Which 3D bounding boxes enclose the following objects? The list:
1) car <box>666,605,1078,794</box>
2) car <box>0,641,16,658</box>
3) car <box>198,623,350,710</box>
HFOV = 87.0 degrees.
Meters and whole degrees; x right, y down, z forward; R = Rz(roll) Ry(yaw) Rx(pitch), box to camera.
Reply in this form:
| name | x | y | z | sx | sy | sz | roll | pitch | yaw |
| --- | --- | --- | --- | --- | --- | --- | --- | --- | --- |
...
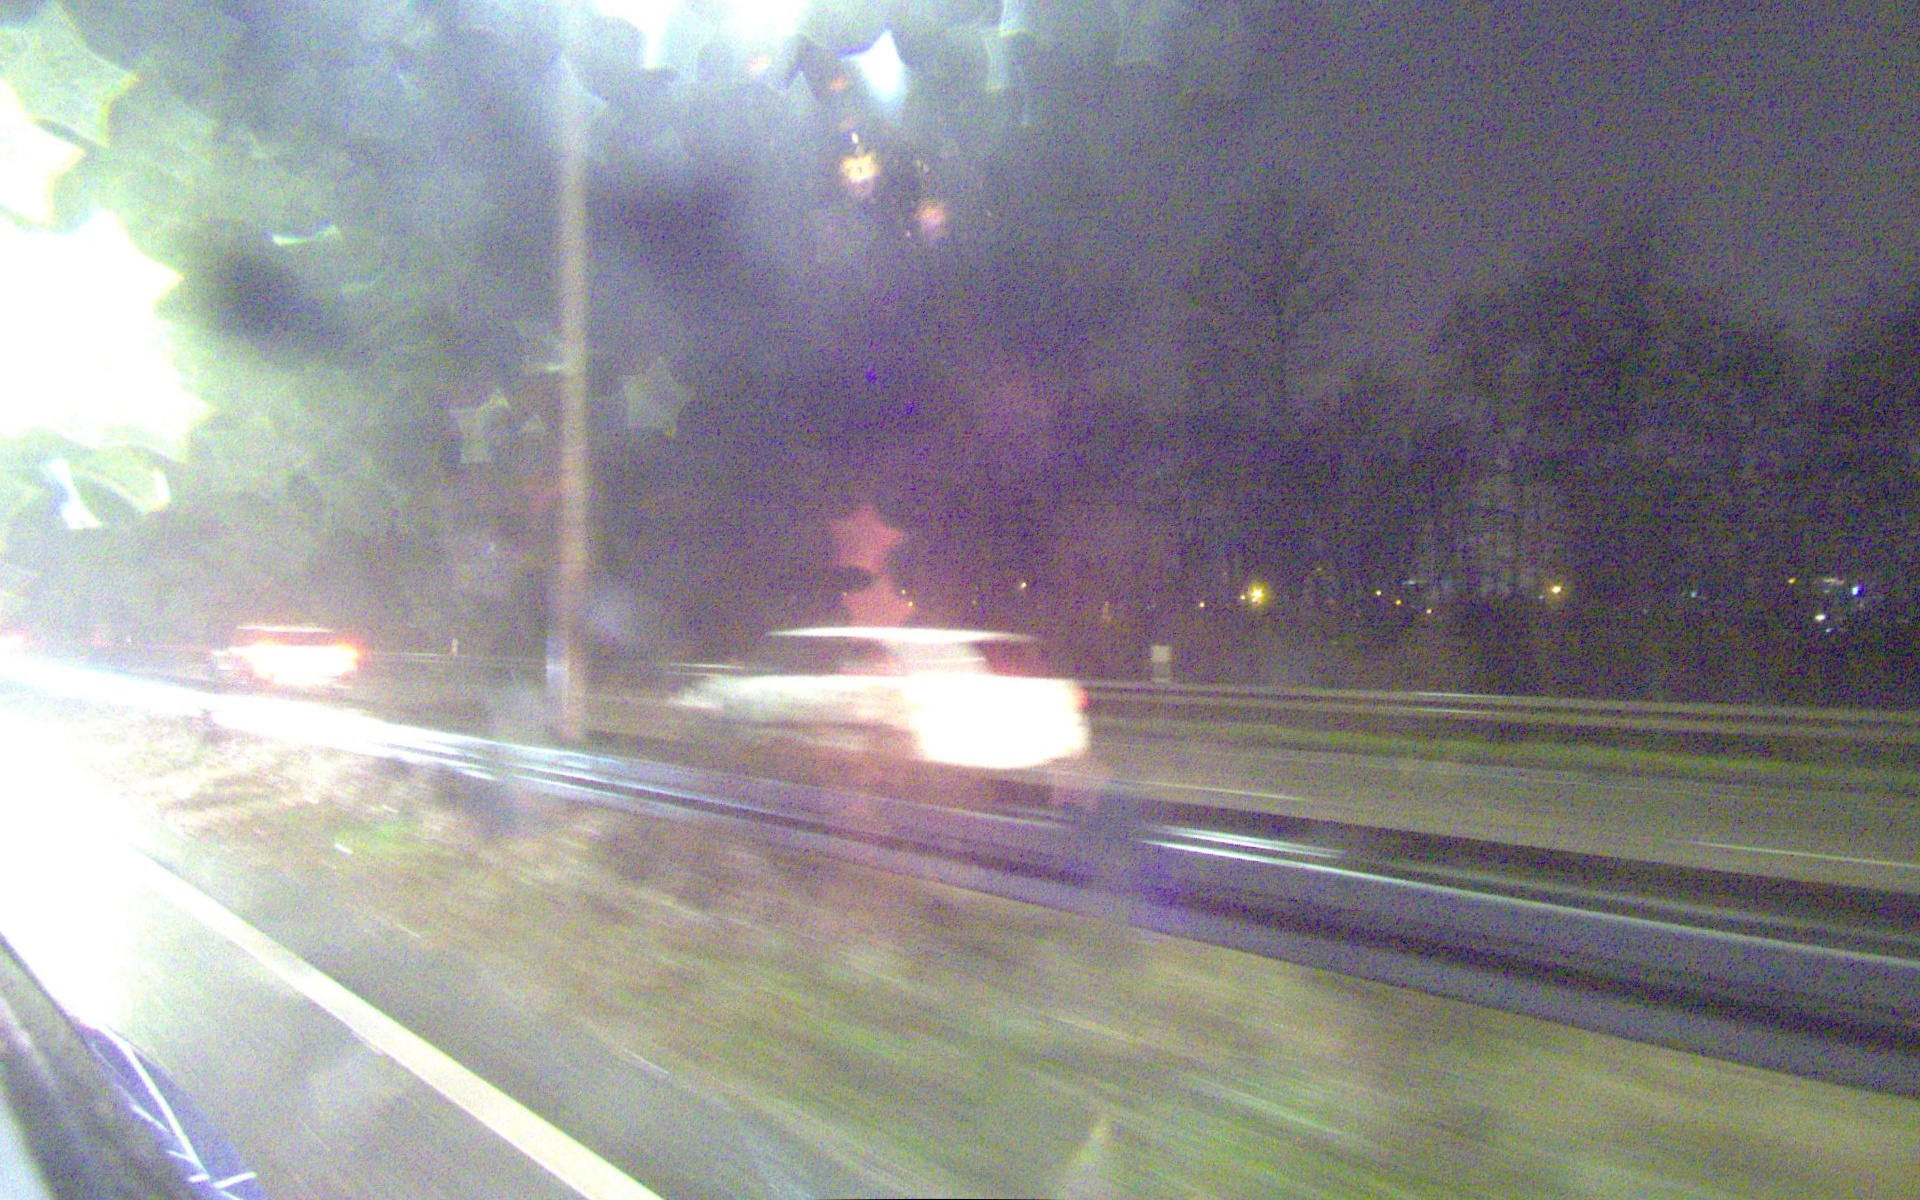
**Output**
| name | x | y | z | sx | sy | sz | roll | pitch | yaw |
| --- | --- | --- | --- | --- | --- | --- | --- | --- | --- |
| car | -1.006 | 0.908 | 10.210 | 4.155 | 1.554 | 1.553 | -1 | -5 | 37 |
| car | -78.398 | 4.024 | 82.557 | 4.162 | 1.392 | 1.593 | -2 | -4 | 42 |
| car | -14.481 | 1.331 | 21.280 | 3.997 | 1.664 | 1.603 | -2 | -3 | 40 |
